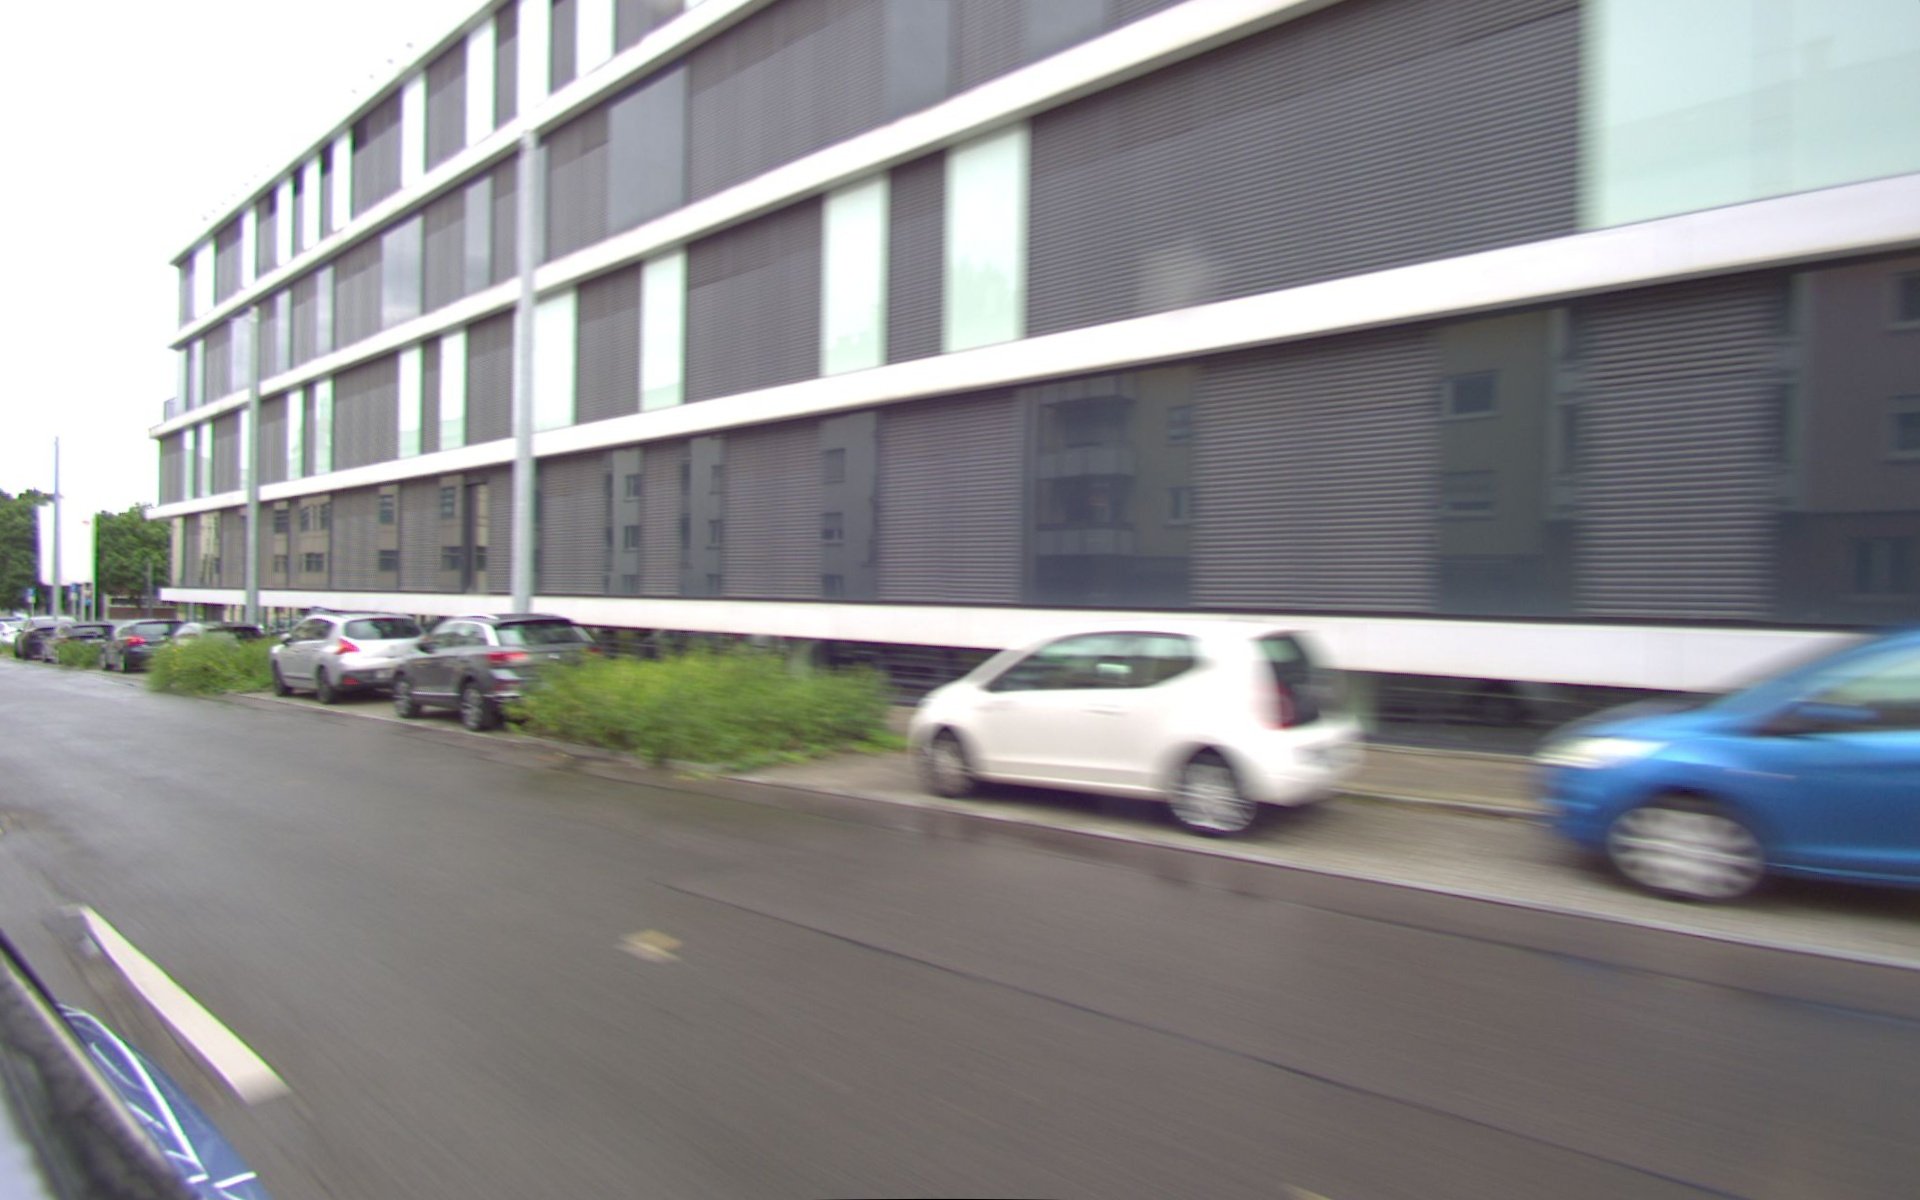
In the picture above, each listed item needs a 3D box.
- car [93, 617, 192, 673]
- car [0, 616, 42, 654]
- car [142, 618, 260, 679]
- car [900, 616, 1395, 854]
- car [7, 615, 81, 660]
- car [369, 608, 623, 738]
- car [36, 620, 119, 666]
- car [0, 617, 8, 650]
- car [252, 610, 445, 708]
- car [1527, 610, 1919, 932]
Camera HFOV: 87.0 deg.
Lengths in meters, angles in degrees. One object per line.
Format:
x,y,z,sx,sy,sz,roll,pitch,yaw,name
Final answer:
-23.722,1.256,29.327,4.039,1.483,1.545,-1,-1,41,car
-42.766,1.546,45.592,4.039,1.597,1.621,-1,-1,41,car
-19.123,1.164,25.432,4.039,1.404,1.545,-1,-1,41,car
1.354,0.869,8.089,3.582,1.478,1.620,-1,-1,41,car
-35.203,1.406,38.884,4.039,1.597,1.621,-1,-1,41,car
-6.964,0.955,14.979,4.362,1.601,1.862,-1,0,42,car
-30.611,1.436,35.072,4.039,1.483,1.621,-1,-1,41,car
-48.207,1.645,49.759,4.039,1.597,1.621,-1,-1,41,car
-11.564,1.017,19.022,4.360,1.601,1.811,-1,0,41,car
5.073,0.795,5.179,3.579,1.478,1.621,-1,-1,39,car
